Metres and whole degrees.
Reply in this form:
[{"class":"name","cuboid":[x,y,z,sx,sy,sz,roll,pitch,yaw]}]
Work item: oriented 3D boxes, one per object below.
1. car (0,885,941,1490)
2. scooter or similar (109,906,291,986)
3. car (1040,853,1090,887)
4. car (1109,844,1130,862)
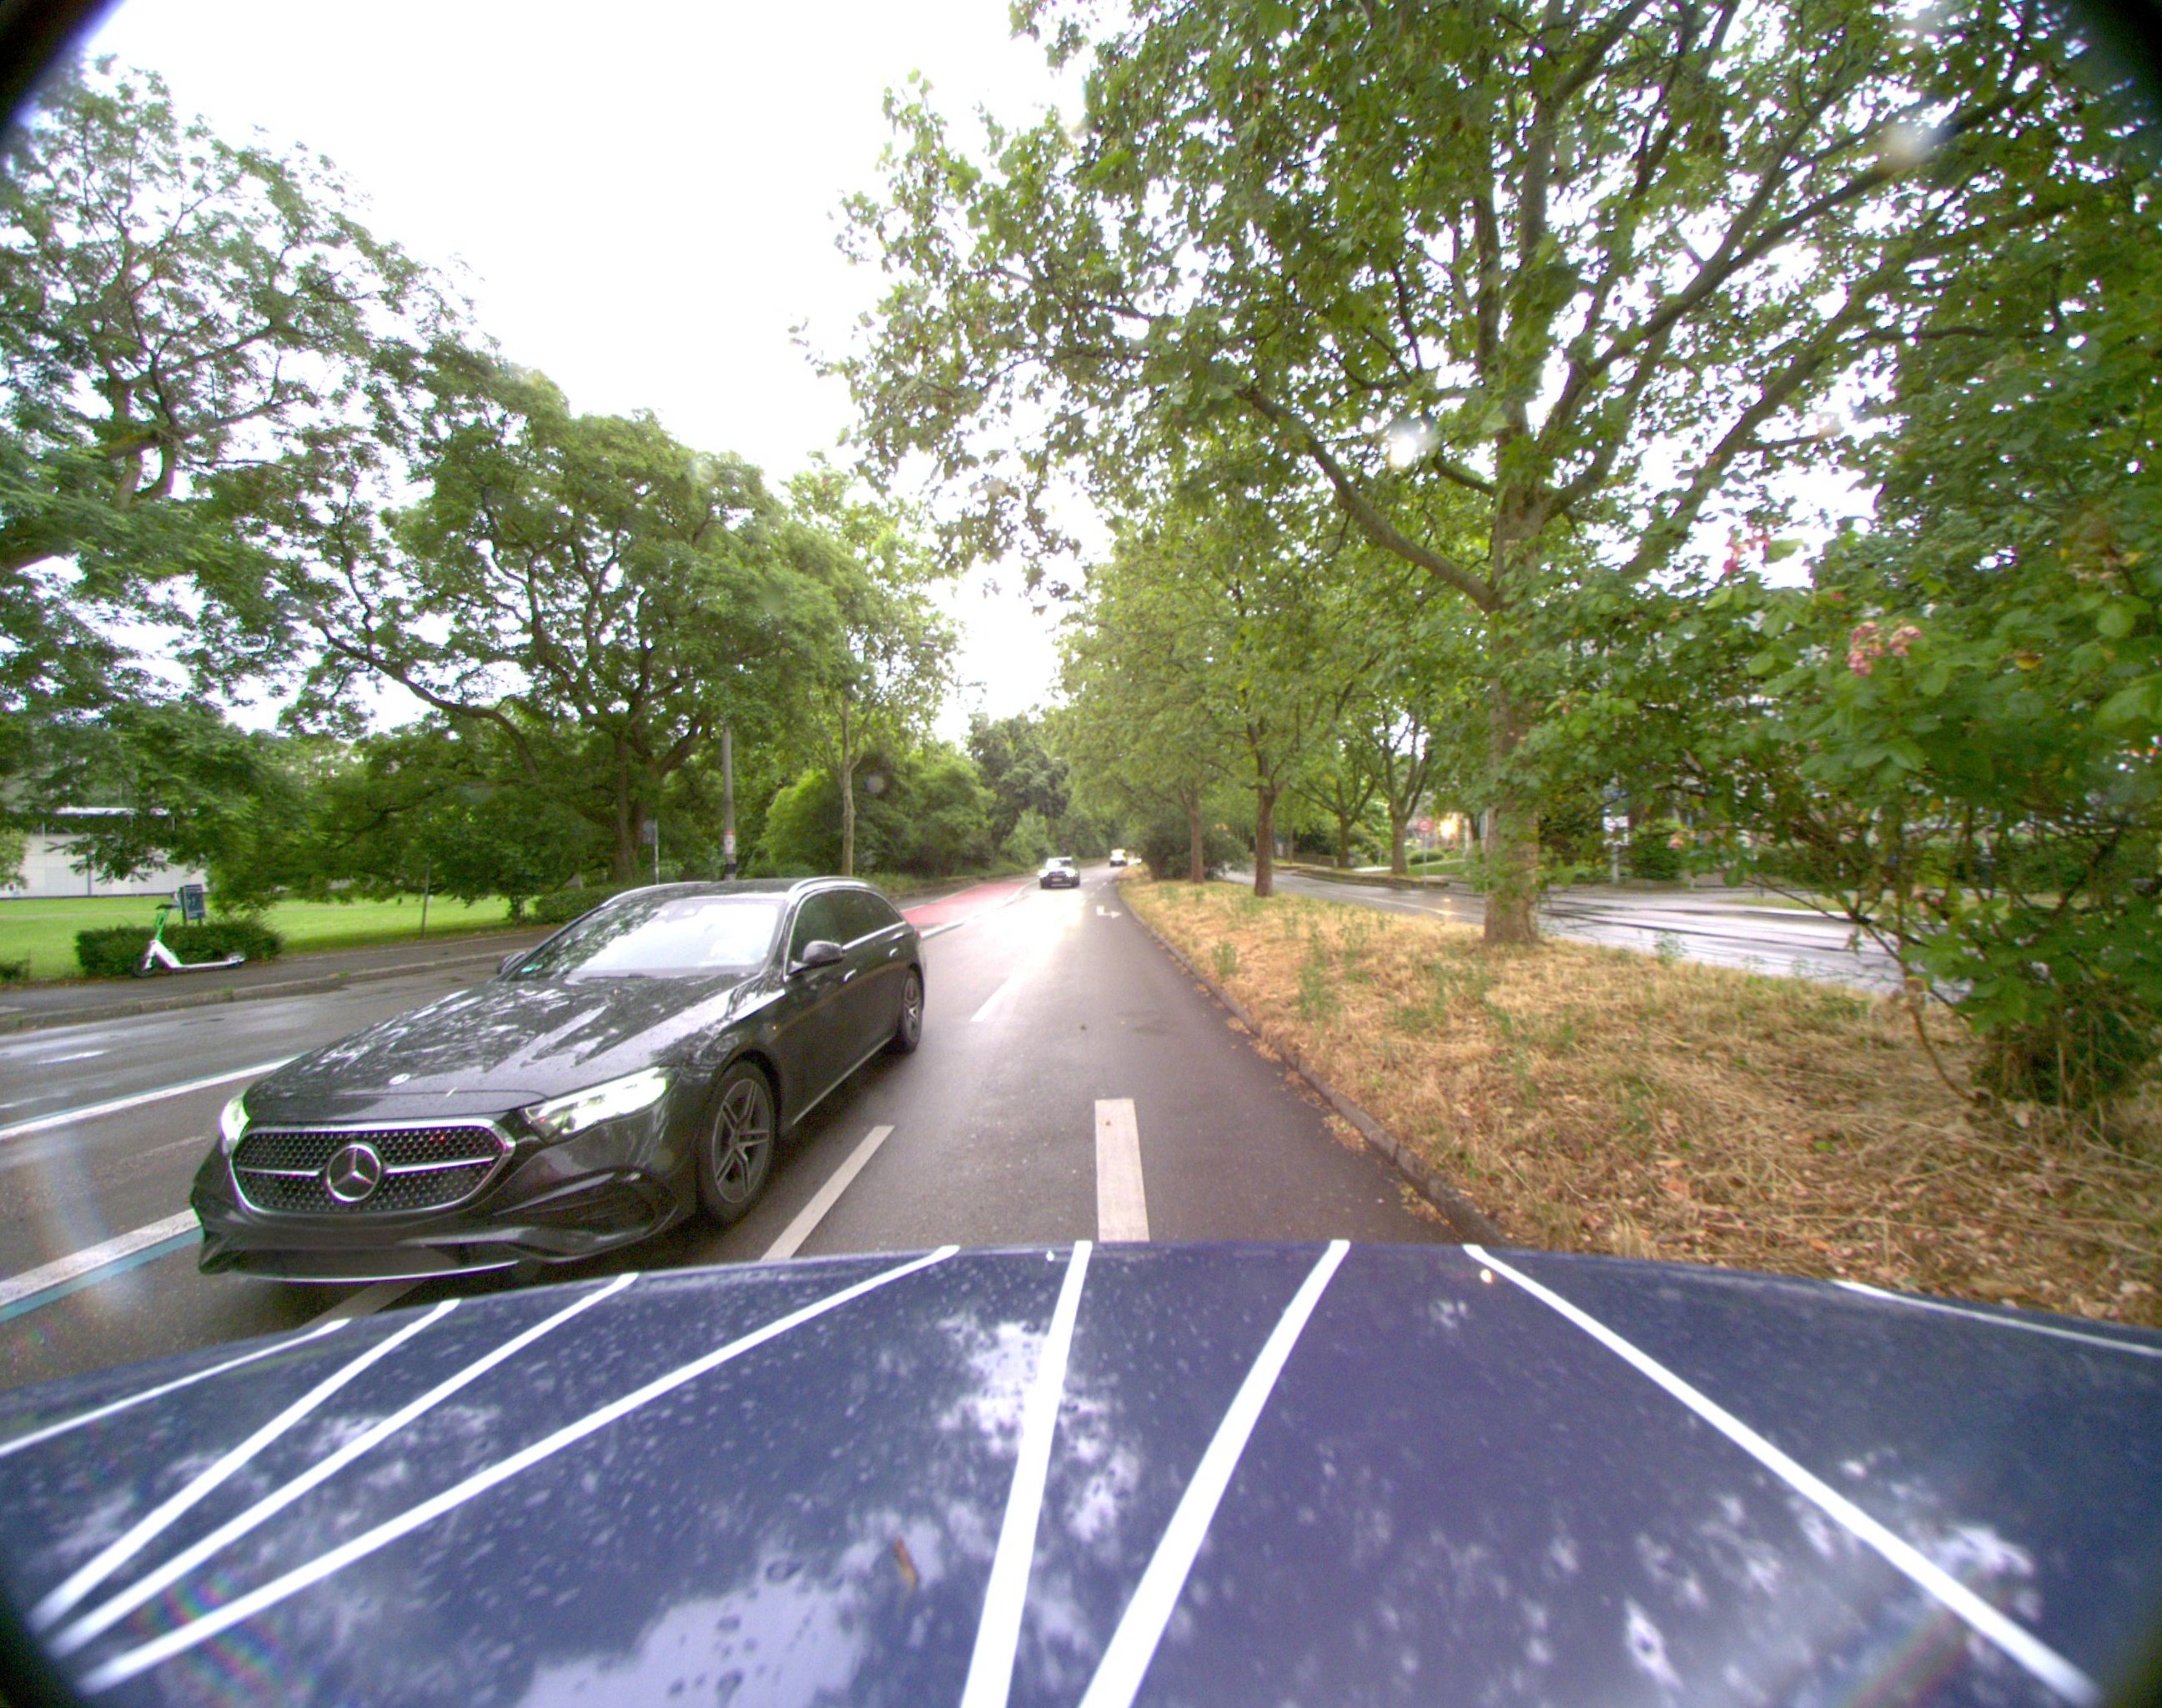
[{"class":"car","cuboid":[-2.332,1.046,4.590,1.884,1.437,4.930,-3,0,1]},{"class":"scooter or similar","cuboid":[-14.549,1.485,12.629,0.557,1.095,1.894,2,0,22]},{"class":"car","cuboid":[-0.815,0.848,41.935,1.832,1.599,4.579,-2,1,10]},{"class":"car","cuboid":[4.391,-0.131,86.266,1.883,1.865,4.744,-3,0,7]}]
